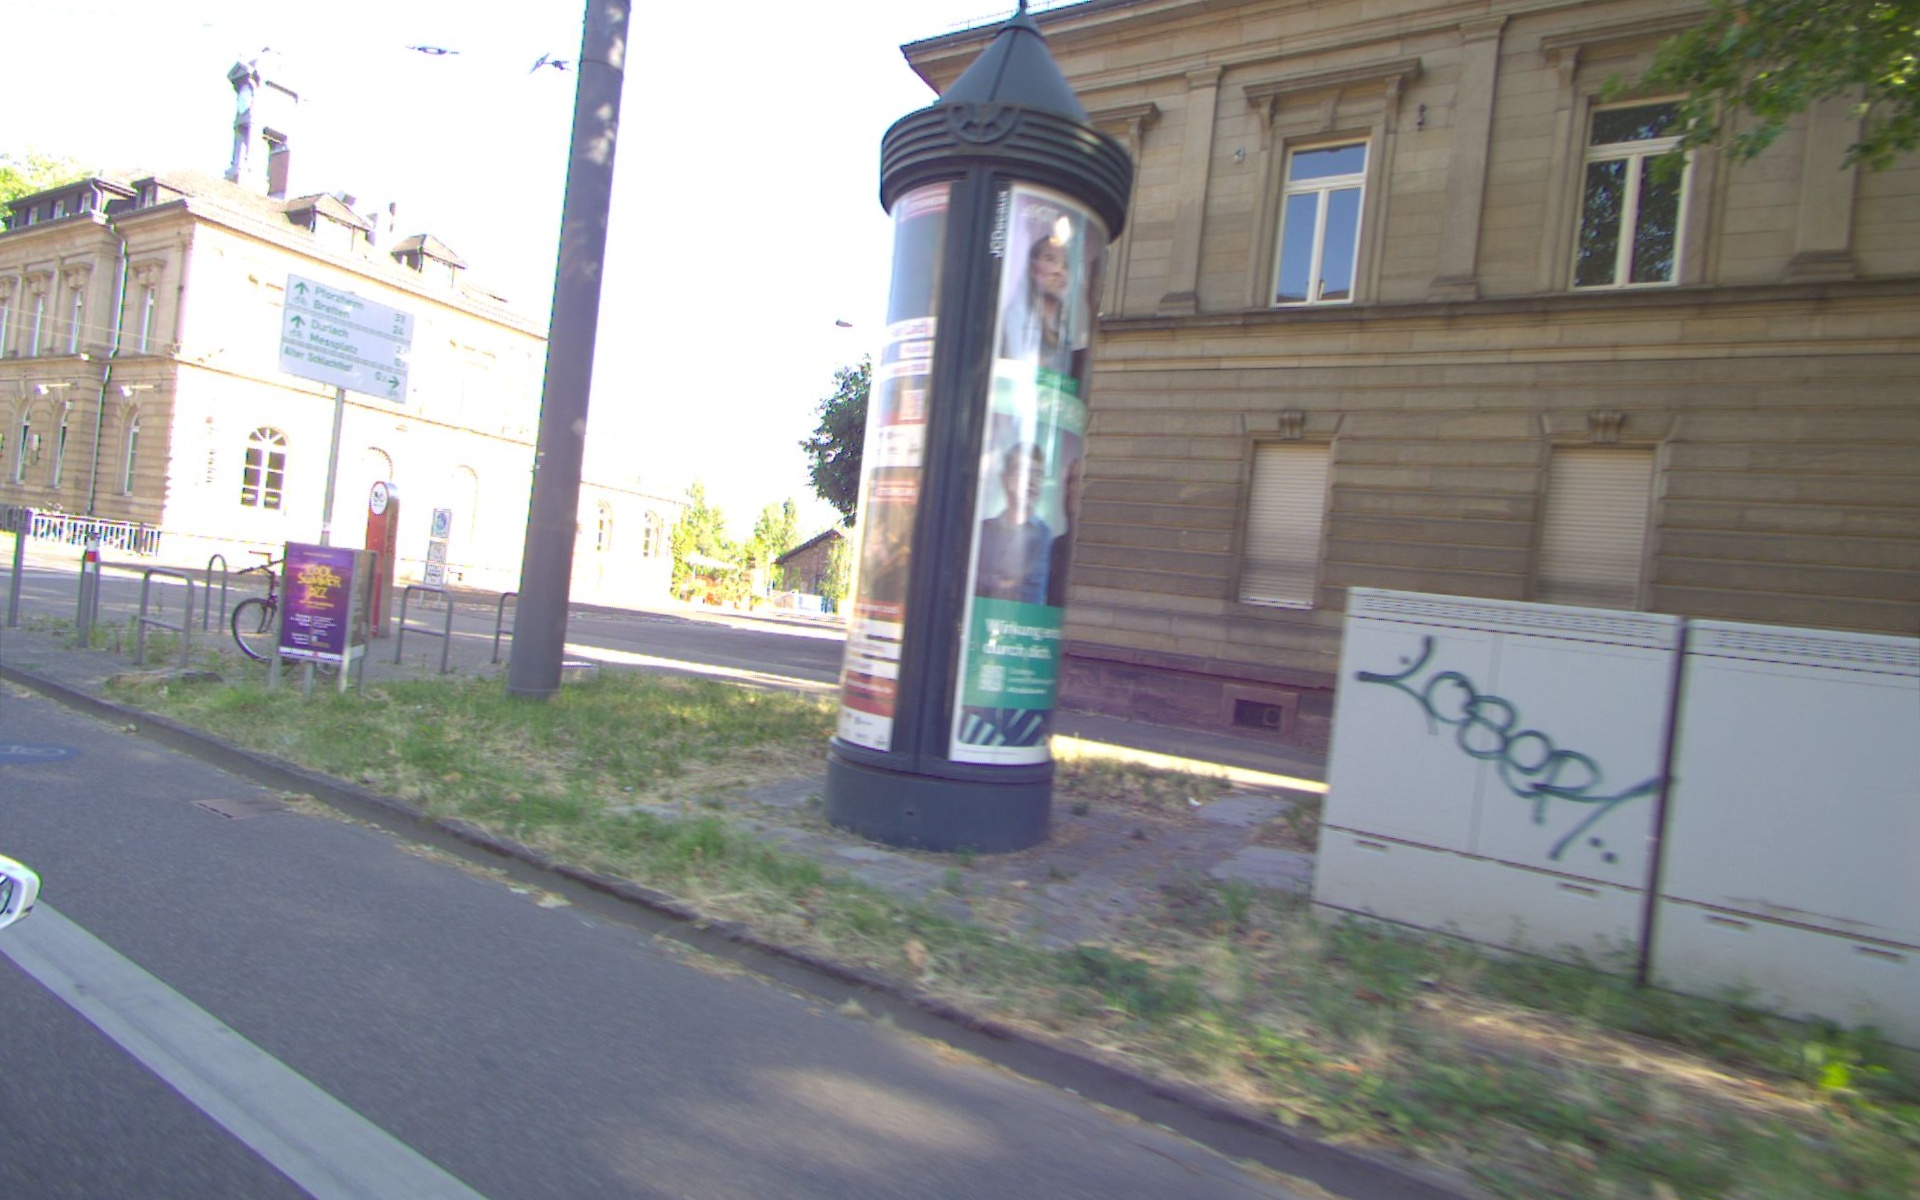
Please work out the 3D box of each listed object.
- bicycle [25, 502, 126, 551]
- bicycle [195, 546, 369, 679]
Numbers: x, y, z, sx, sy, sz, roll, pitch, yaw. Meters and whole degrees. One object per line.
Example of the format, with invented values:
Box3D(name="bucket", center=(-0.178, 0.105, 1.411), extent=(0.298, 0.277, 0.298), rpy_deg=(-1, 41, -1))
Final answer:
Box3D(name="bicycle", center=(-27.136, -2.251, 30.909), extent=(0.752, 1.225, 2.140), rpy_deg=(7, 1, 28))
Box3D(name="bicycle", center=(-6.556, 0.109, 9.710), extent=(1.740, 1.075, 0.541), rpy_deg=(6, 1, 27))
